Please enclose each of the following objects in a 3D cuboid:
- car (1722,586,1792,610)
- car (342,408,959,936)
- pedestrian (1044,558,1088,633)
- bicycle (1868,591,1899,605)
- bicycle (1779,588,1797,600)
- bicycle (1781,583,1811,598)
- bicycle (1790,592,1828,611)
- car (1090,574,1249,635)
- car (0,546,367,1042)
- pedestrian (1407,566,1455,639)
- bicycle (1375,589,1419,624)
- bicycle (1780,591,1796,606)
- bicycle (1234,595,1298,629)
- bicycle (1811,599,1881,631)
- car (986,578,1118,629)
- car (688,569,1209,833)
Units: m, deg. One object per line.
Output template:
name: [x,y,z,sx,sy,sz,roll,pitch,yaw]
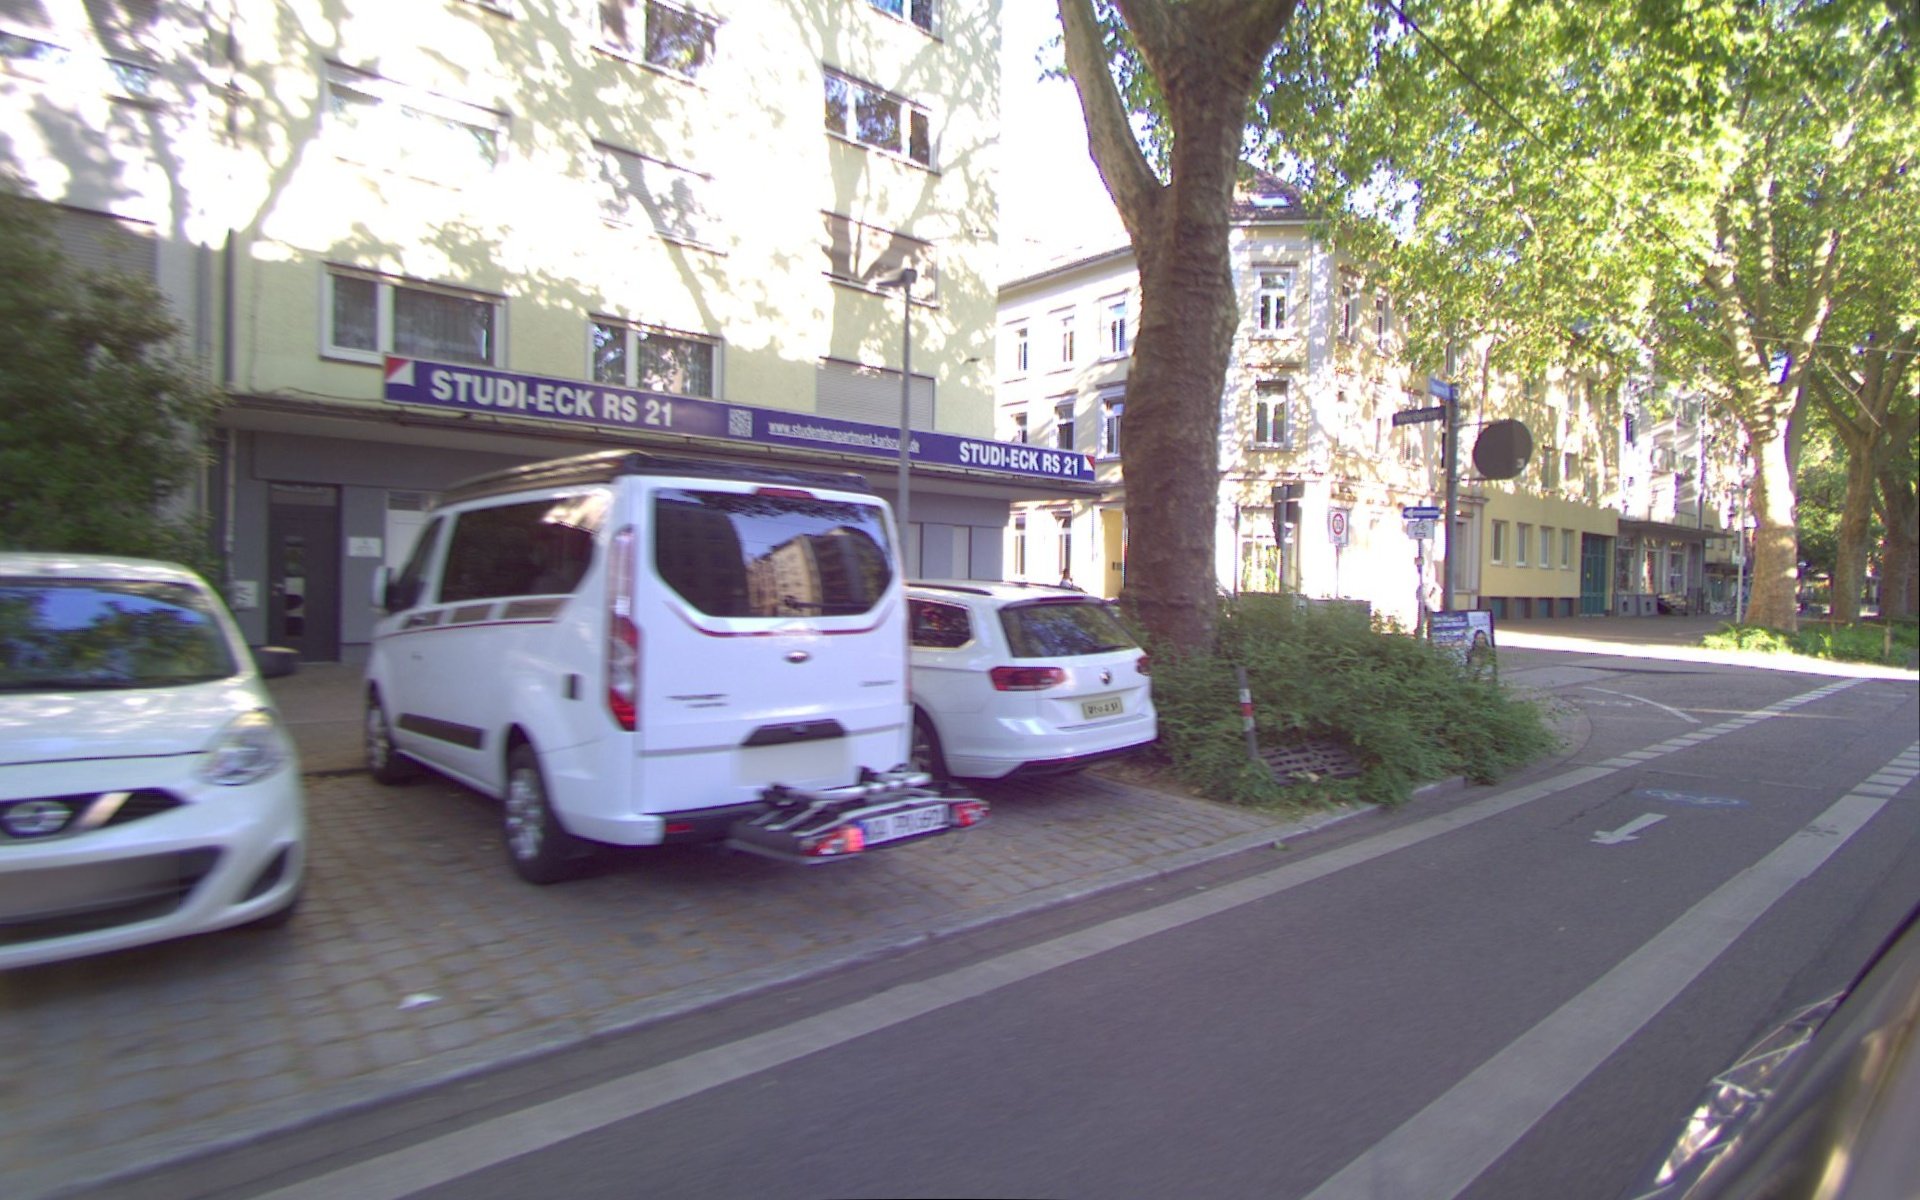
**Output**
car: [61.026,-0.183,77.520,1.833,1.714,3.870,0,2,-40]
car: [-2.268,0.217,6.385,1.967,2.102,4.550,0,2,-42]
pedestrian: [2.435,-0.113,23.231,0.654,1.665,0.748,0,1,-39]
bicycle: [84.734,-0.202,92.867,0.562,1.170,2.036,0,3,-39]
bicycle: [82.126,-0.605,100.361,1.997,1.171,0.709,0,3,-31]
bicycle: [72.562,-0.813,87.829,0.560,1.170,1.939,1,3,-25]
bicycle: [58.035,0.118,69.202,1.781,1.171,0.739,3,3,28]
car: [6.028,0.080,29.427,4.133,1.613,1.968,2,2,45]
car: [-4.122,0.527,4.562,1.694,1.497,3.902,0,2,-43]
pedestrian: [12.671,0.057,27.214,1.169,1.890,0.767,0,2,-44]
bicycle: [14.739,0.197,34.118,1.889,1.117,0.583,0,3,-42]
bicycle: [65.306,-0.141,79.834,1.666,1.171,0.602,0,3,-38]
bicycle: [9.177,0.351,30.374,1.808,1.020,0.567,0,0,15]
bicycle: [33.119,0.538,37.879,0.500,1.018,1.975,1,4,-15]
car: [3.002,0.067,33.528,1.967,1.522,4.136,-2,3,-43]
car: [-0.356,0.531,8.080,1.799,1.497,4.305,0,2,-41]
